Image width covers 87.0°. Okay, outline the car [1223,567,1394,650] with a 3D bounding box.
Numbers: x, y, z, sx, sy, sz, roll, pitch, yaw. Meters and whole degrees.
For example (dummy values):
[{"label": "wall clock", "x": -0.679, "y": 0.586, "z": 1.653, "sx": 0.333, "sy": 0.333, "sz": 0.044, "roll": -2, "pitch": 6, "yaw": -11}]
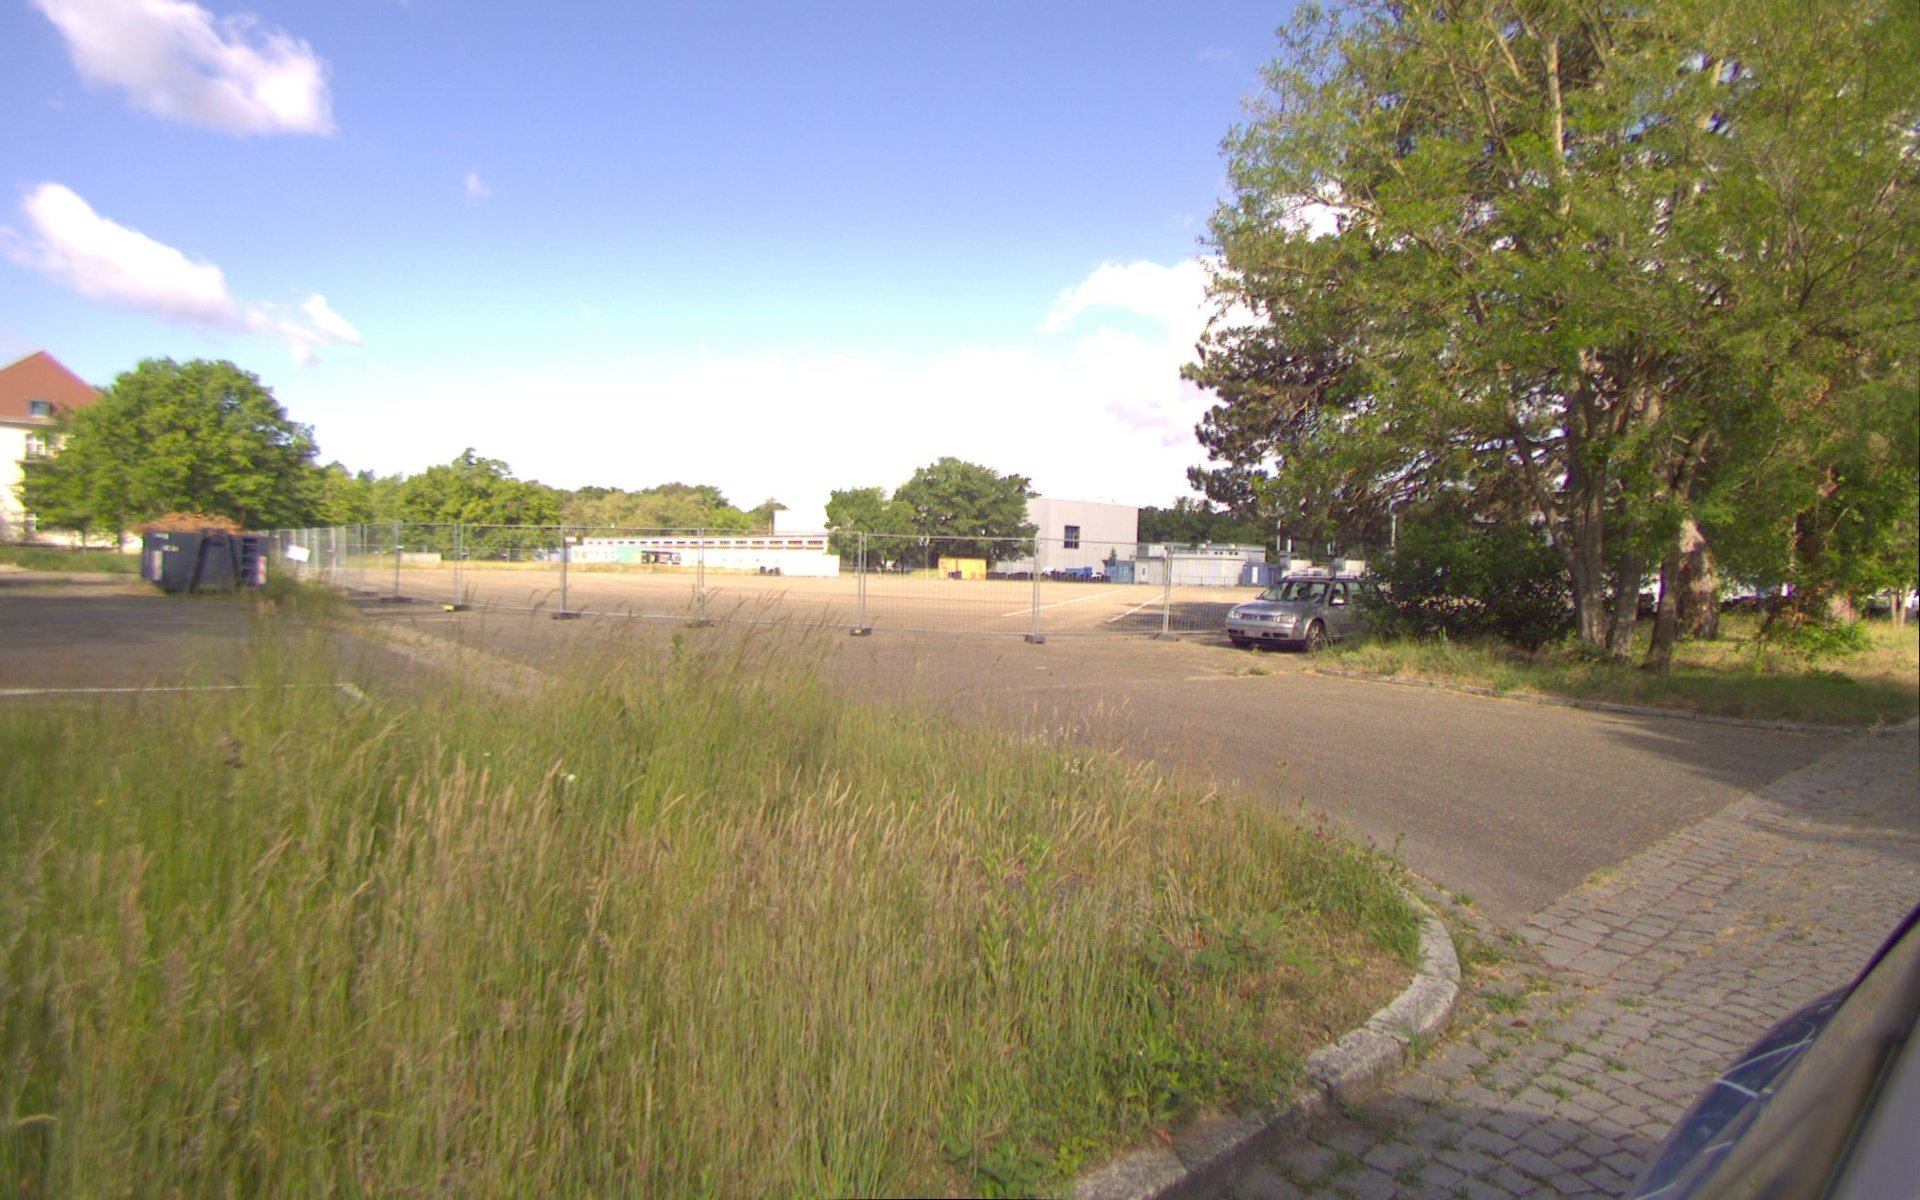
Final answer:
[{"label": "car", "x": 7.020, "y": 0.127, "z": 20.203, "sx": 3.920, "sy": 1.461, "sz": 1.576, "roll": 0, "pitch": 3, "yaw": -44}]
